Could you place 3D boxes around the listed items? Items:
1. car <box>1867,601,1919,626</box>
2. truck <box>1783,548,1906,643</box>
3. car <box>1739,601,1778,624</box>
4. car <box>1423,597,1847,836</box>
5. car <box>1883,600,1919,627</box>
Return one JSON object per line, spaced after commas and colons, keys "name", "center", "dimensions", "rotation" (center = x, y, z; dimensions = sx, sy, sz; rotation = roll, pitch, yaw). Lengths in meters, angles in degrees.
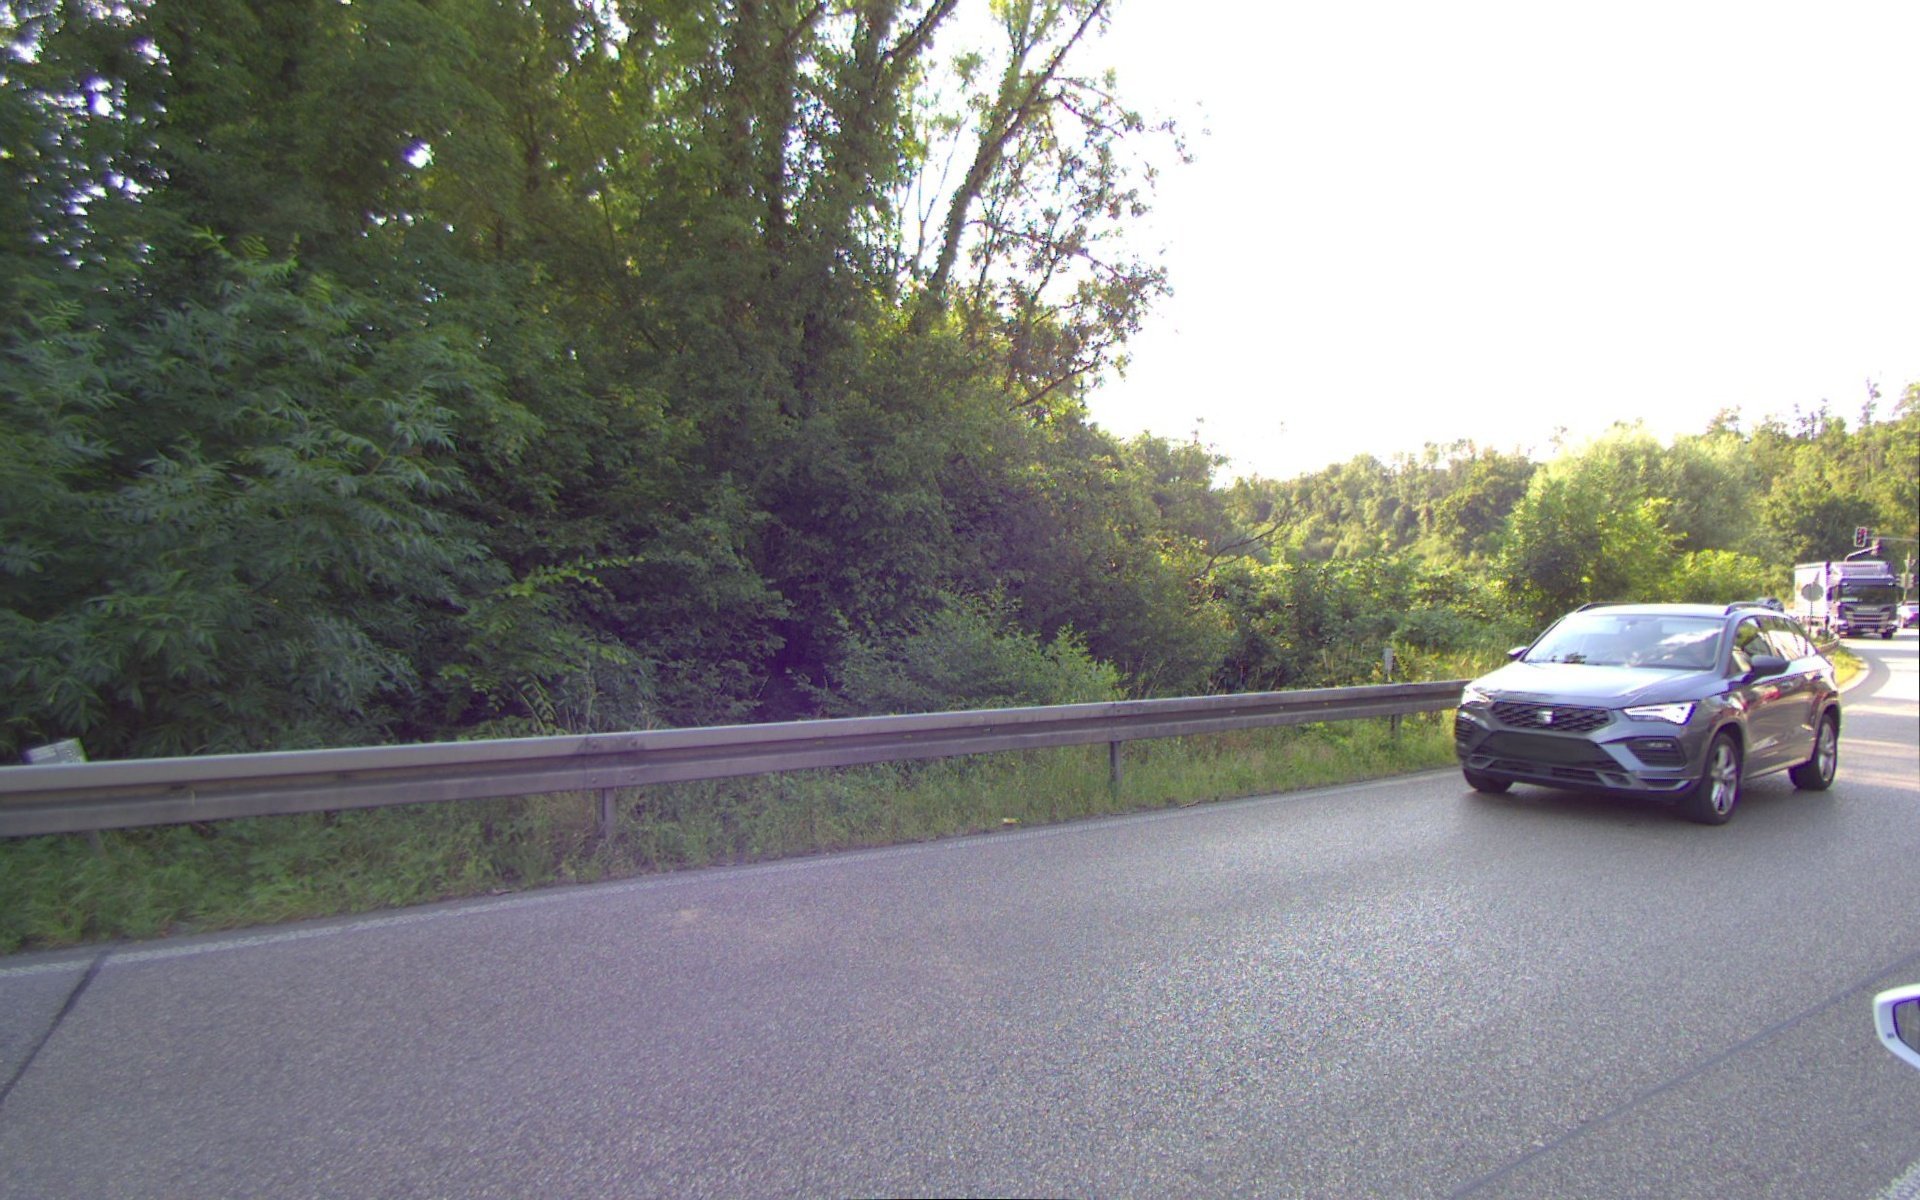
{"name": "car", "center": [78.050, 1.142, 83.282], "dimensions": [3.933, 1.876, 1.868], "rotation": [3, 2, 35]}
{"name": "truck", "center": [47.327, -0.191, 54.086], "dimensions": [2.968, 4.646, 10.220], "rotation": [2, 0, 31]}
{"name": "car", "center": [58.150, 0.872, 73.203], "dimensions": [1.842, 1.577, 3.988], "rotation": [3, 2, 34]}
{"name": "car", "center": [5.886, 0.802, 8.610], "dimensions": [3.963, 1.585, 1.854], "rotation": [1, -1, -37]}
{"name": "car", "center": [59.979, 0.847, 63.291], "dimensions": [1.841, 1.586, 3.991], "rotation": [3, 2, 31]}
